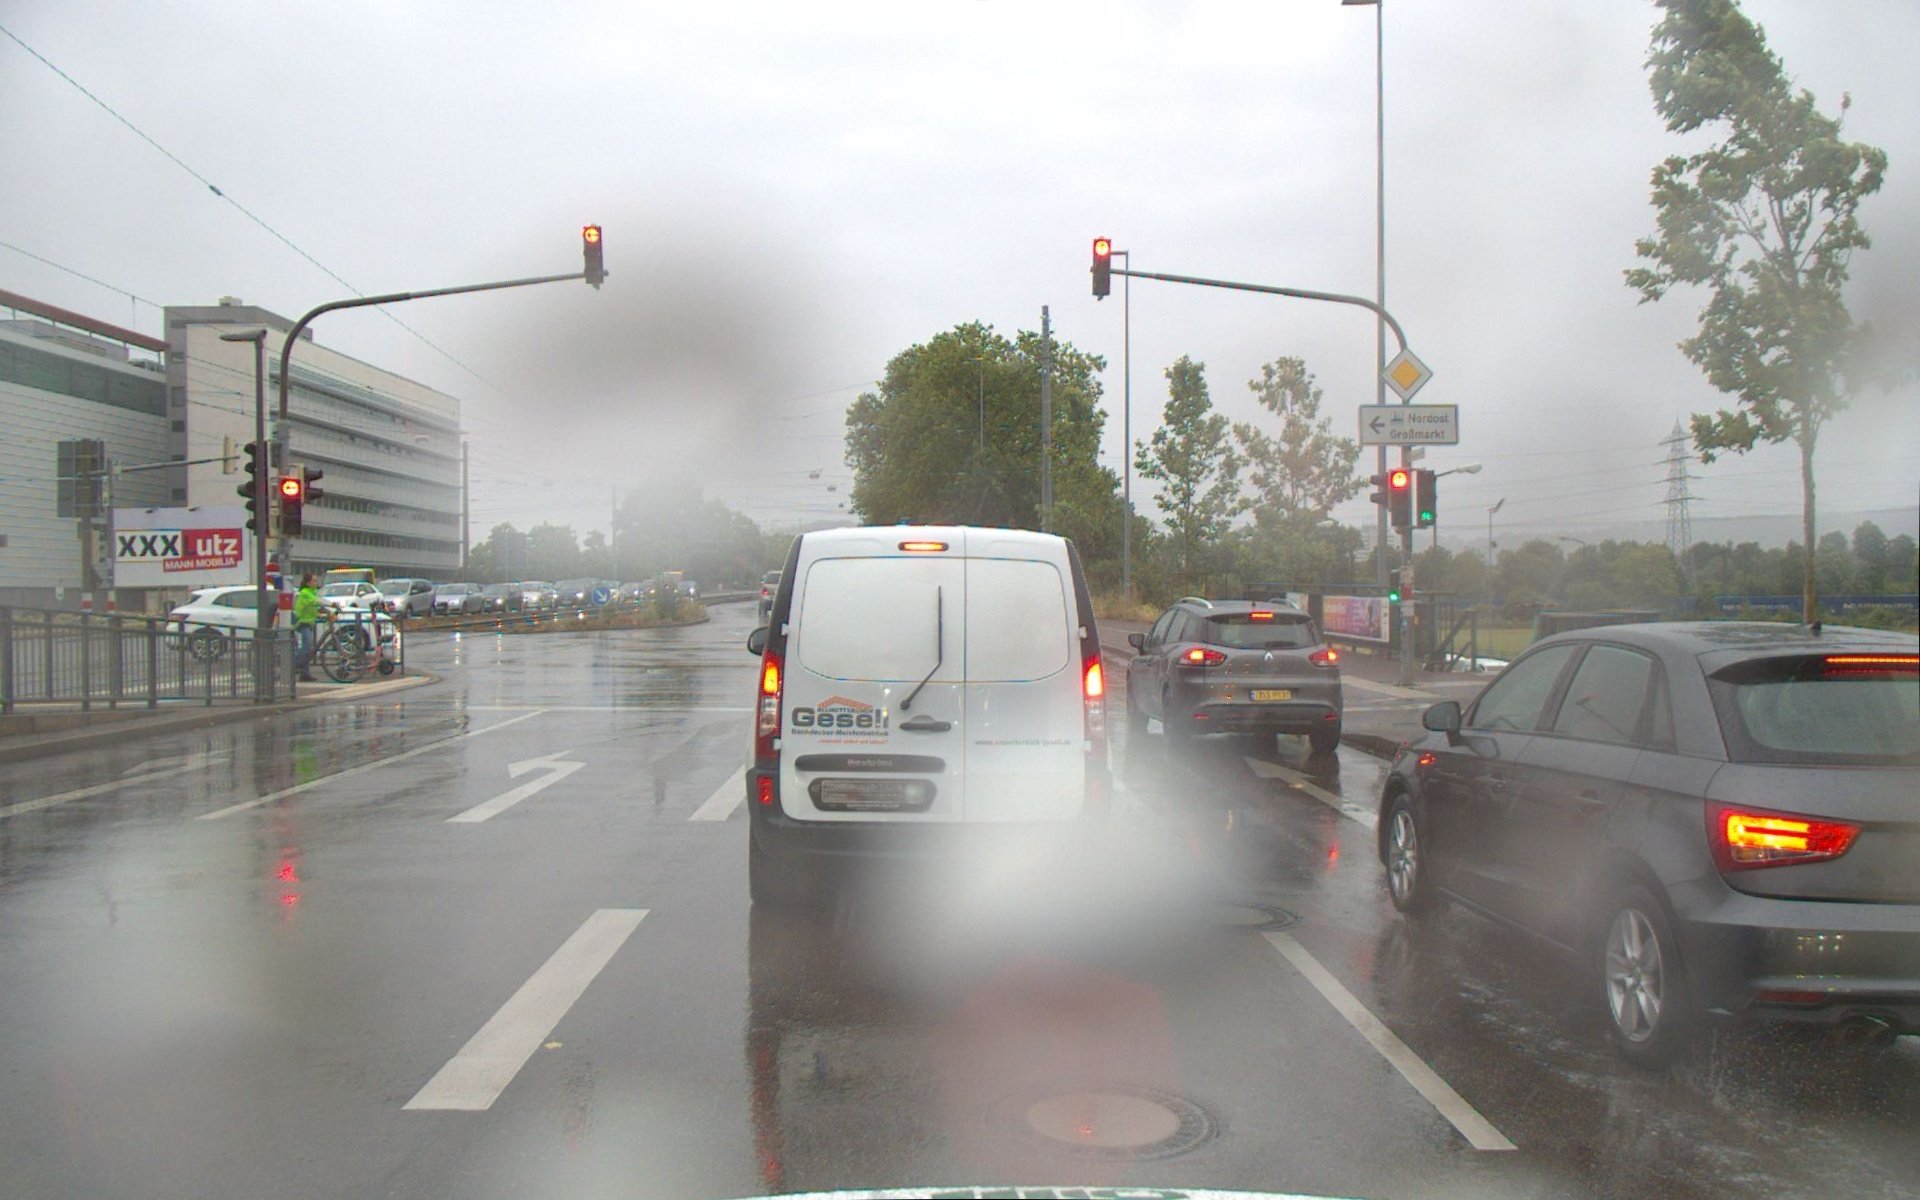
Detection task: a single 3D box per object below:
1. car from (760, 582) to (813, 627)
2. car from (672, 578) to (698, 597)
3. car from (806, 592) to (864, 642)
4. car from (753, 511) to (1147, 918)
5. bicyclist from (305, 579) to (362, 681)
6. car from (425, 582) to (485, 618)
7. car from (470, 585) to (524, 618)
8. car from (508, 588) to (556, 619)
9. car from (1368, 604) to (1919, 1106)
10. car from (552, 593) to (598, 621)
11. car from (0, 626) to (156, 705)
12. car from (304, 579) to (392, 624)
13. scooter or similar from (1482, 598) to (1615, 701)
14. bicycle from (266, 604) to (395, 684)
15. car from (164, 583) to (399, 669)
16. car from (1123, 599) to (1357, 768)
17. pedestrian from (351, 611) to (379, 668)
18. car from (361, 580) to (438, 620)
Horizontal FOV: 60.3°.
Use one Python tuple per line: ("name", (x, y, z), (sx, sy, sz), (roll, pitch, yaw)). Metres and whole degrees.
("car", (-6.954, 0.221, 66.688), (1.909, 1.691, 4.460), (2, -1, -4))
("car", (-22.916, -1.056, 137.836), (1.528, 1.451, 3.568), (2, -1, -1))
("car", (-3.992, 0.548, 52.409), (1.679, 1.476, 4.193), (2, -1, -6))
("car", (-0.187, 0.480, 9.383), (1.719, 1.780, 4.166), (1, 1, -4))
("bicyclist", (-9.484, 0.455, 25.036), (0.600, 1.517, 0.591), (2, 0, -41))
("car", (-21.839, 0.006, 71.638), (1.528, 1.451, 3.568), (2, -1, -1))
("car", (-21.999, 0.077, 78.716), (1.528, 1.451, 3.568), (2, -1, -1))
("car", (-22.040, 0.200, 85.202), (1.528, 1.451, 3.568), (2, -1, -1))
("car", (2.929, 0.724, 6.537), (1.565, 1.390, 3.629), (-1, 0, -3))
("car", (-21.511, 0.408, 92.522), (1.676, 1.451, 3.808), (2, -1, -1))
("car", (-19.640, 1.356, 34.986), (4.422, 1.528, 1.706), (3, -1, -16))
("car", (-21.606, 0.078, 58.500), (1.676, 1.451, 3.808), (2, -1, -1))
("scooter or similar", (7.619, 0.596, 21.595), (0.676, 1.232, 3.020), (0, 0, 0))
("bicycle", (-9.513, 0.660, 25.021), (1.745, 1.157, 0.512), (2, 0, -43))
("car", (-13.493, 0.527, 33.176), (4.195, 1.528, 1.811), (3, -1, -20))
("car", (2.787, 0.777, 17.278), (1.650, 1.534, 3.919), (1, 0, -2))
("pedestrian", (-9.715, 0.644, 27.022), (0.309, 0.913, 0.380), (2, 0, -3))
("car", (-21.784, 0.020, 64.404), (1.676, 1.451, 3.808), (2, -1, -1))
